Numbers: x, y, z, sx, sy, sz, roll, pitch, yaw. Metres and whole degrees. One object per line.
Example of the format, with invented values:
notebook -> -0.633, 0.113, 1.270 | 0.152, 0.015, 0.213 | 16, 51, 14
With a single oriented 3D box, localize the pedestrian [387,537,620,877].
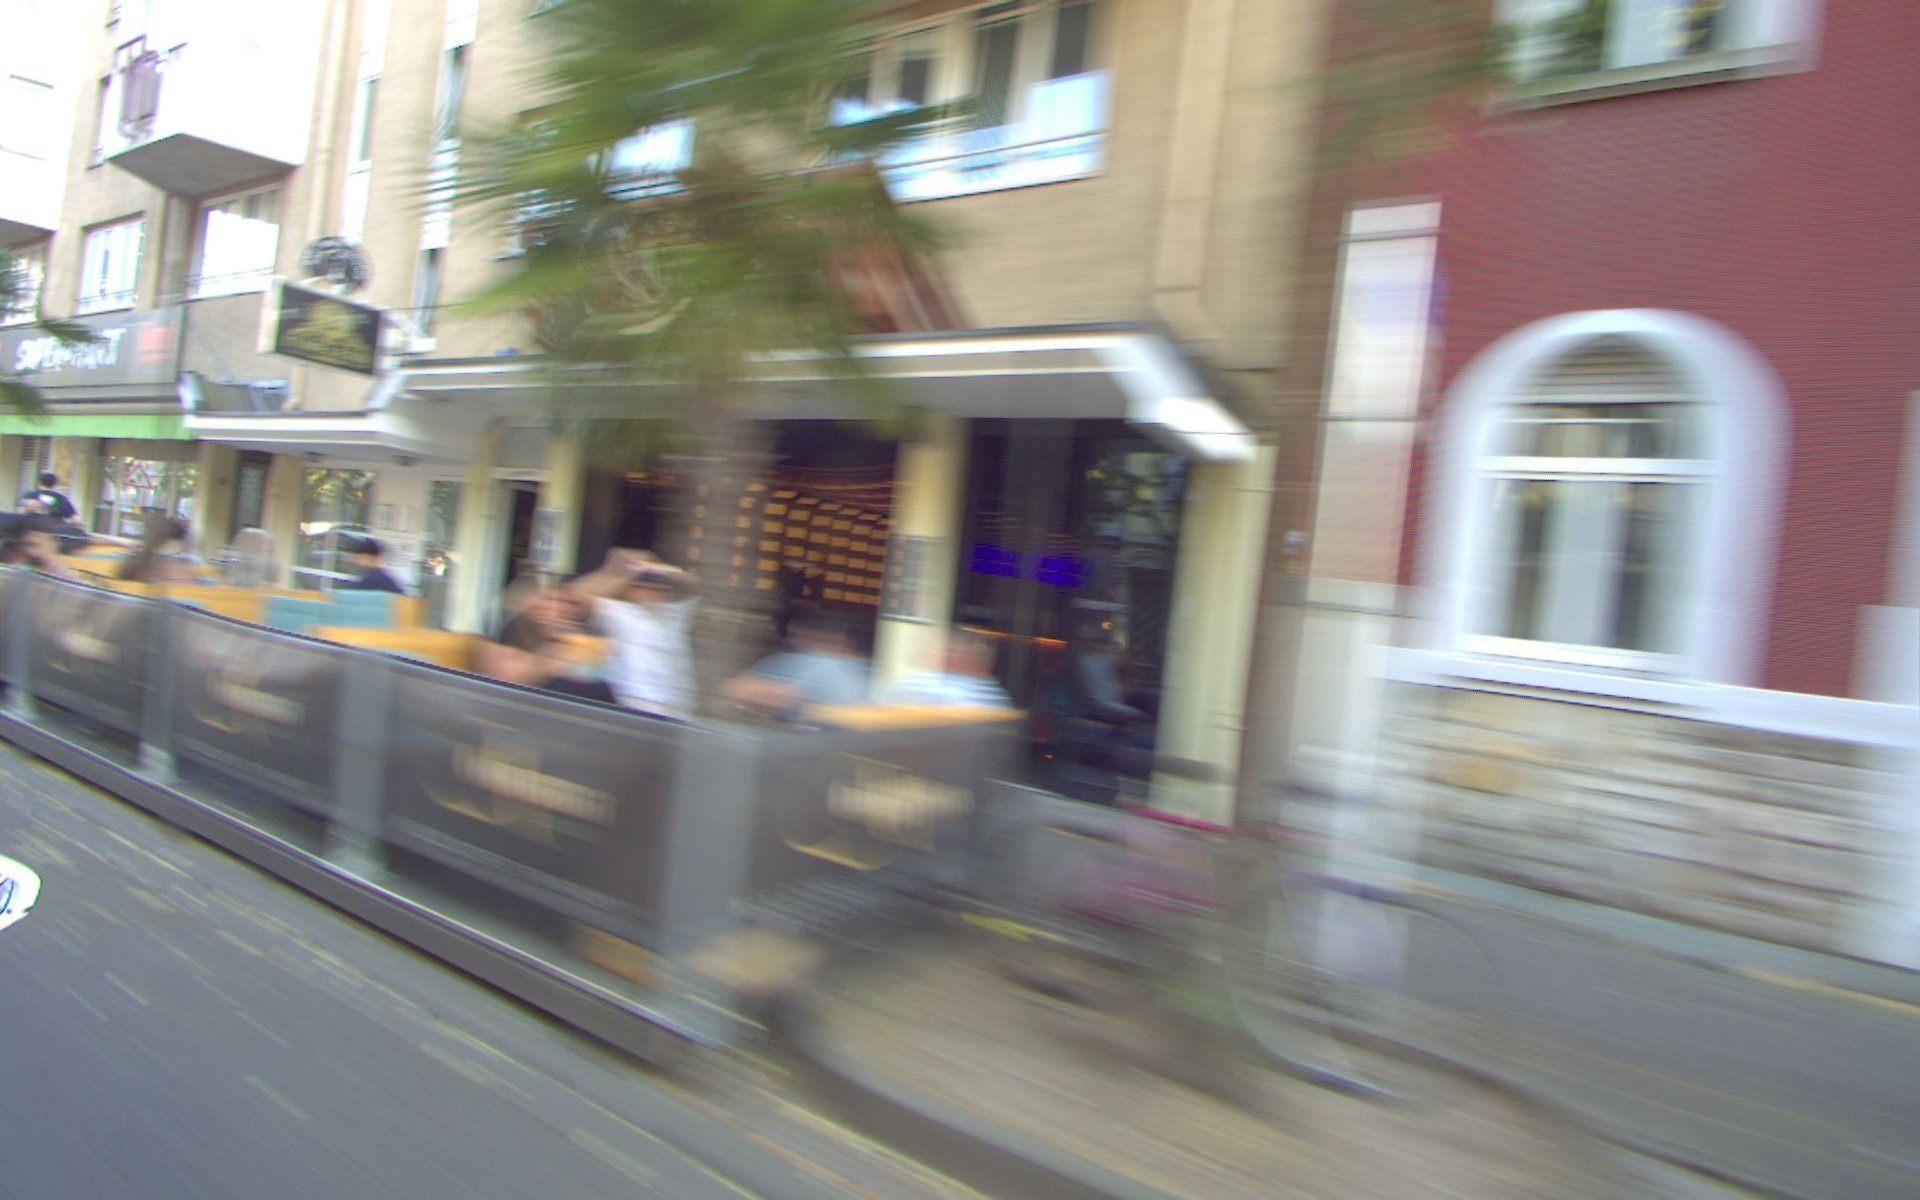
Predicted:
pedestrian -> -2.283, 0.491, 5.040 | 0.782, 1.504, 0.631 | 7, 2, 32

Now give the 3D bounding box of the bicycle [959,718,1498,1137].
bicycle -> 0.886, 1.047, 3.561 | 1.681, 0.995, 0.386 | 7, 0, 26

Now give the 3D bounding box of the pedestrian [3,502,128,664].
pedestrian -> -7.452, -0.135, 8.384 | 0.593, 1.260, 0.577 | 7, 2, 32

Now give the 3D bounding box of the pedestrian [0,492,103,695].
pedestrian -> -6.483, -0.056, 6.979 | 0.692, 1.336, 0.577 | 7, 2, 32

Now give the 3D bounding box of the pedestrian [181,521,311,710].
pedestrian -> -5.694, 0.122, 8.027 | 0.593, 1.402, 0.577 | 7, 2, 32

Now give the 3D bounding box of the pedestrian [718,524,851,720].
pedestrian -> -1.848, 0.228, 10.661 | 0.862, 1.907, 0.800 | 8, 2, 28

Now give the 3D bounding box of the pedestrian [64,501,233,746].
pedestrian -> -5.007, 0.136, 6.215 | 0.593, 1.402, 0.577 | 7, 2, 32

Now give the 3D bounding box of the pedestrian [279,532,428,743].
pedestrian -> -4.380, 0.260, 7.266 | 0.706, 1.402, 0.577 | 7, 2, 32

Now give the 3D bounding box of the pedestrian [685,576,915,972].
pedestrian -> -0.667, 0.681, 4.249 | 0.593, 1.481, 0.577 | 7, 2, 32

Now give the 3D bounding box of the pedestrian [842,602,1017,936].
pedestrian -> -0.131, 0.720, 4.530 | 0.430, 1.362, 0.548 | 7, 2, 32

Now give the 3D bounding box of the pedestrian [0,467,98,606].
pedestrian -> -12.175, -0.839, 13.397 | 0.689, 1.725, 0.788 | 7, 1, 32

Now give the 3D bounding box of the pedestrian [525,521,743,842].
pedestrian -> -1.836, 0.425, 5.695 | 0.782, 1.619, 0.708 | 7, 2, 32

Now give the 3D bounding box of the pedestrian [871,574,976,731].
pedestrian -> -0.476, 0.683, 13.275 | 0.863, 1.907, 0.800 | 8, 2, 31
